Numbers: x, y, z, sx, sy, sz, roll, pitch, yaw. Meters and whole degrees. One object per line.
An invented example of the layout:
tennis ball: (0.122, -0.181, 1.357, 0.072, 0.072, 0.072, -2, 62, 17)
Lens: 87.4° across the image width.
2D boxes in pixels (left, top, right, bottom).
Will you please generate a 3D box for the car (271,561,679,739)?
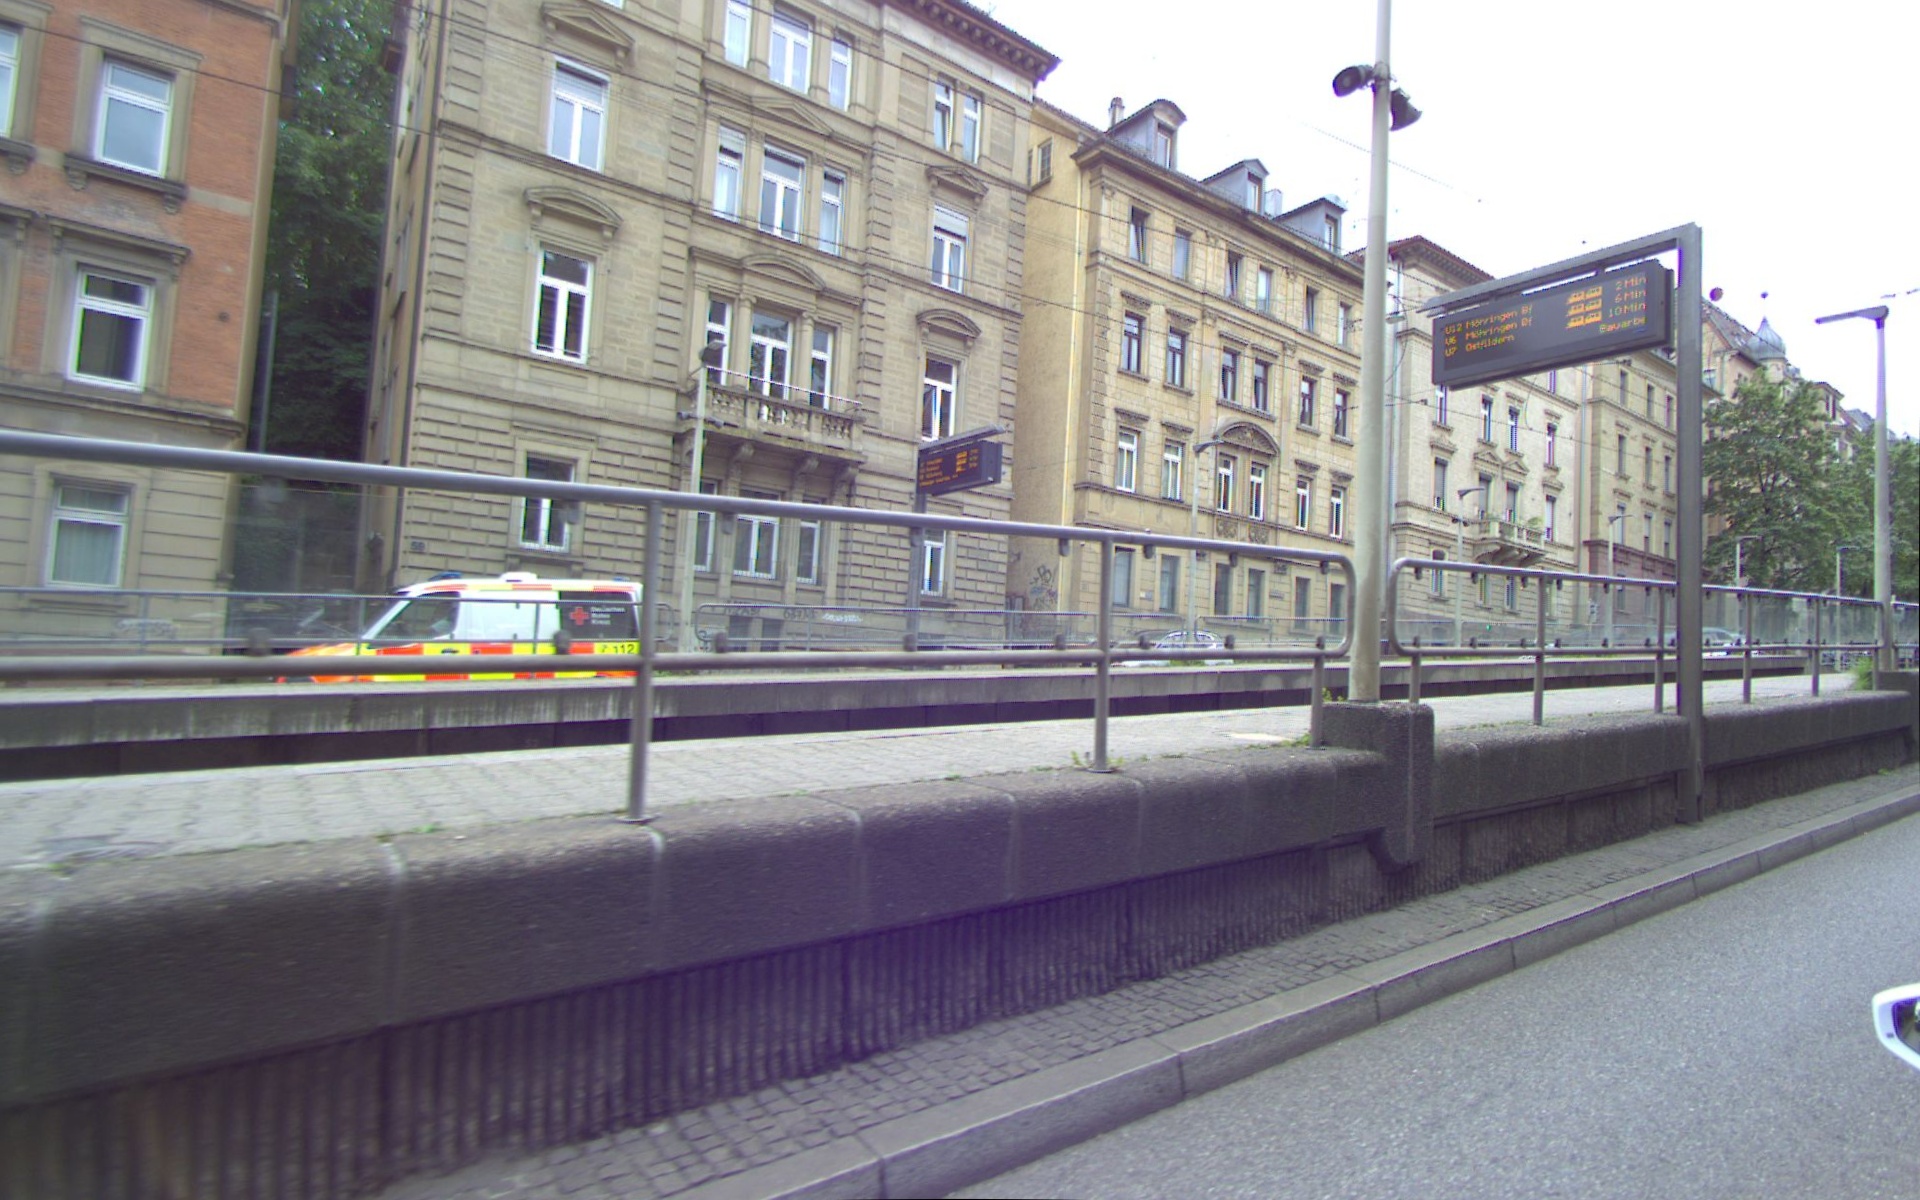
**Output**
car: (-7.334, 0.742, 15.530, 5.402, 2.335, 1.980, 2, -2, -36)

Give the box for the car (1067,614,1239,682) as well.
car: (4.740, 1.140, 24.425, 4.222, 1.490, 1.755, 2, -1, -37)

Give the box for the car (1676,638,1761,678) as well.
car: (33.973, 2.579, 44.970, 3.962, 1.701, 1.923, 2, -3, -36)

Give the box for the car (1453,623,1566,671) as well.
car: (18.890, 1.593, 34.478, 3.961, 1.548, 1.866, 1, -2, -36)

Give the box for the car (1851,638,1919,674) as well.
car: (49.649, 2.974, 53.830, 4.095, 1.884, 1.838, 2, -2, -34)
